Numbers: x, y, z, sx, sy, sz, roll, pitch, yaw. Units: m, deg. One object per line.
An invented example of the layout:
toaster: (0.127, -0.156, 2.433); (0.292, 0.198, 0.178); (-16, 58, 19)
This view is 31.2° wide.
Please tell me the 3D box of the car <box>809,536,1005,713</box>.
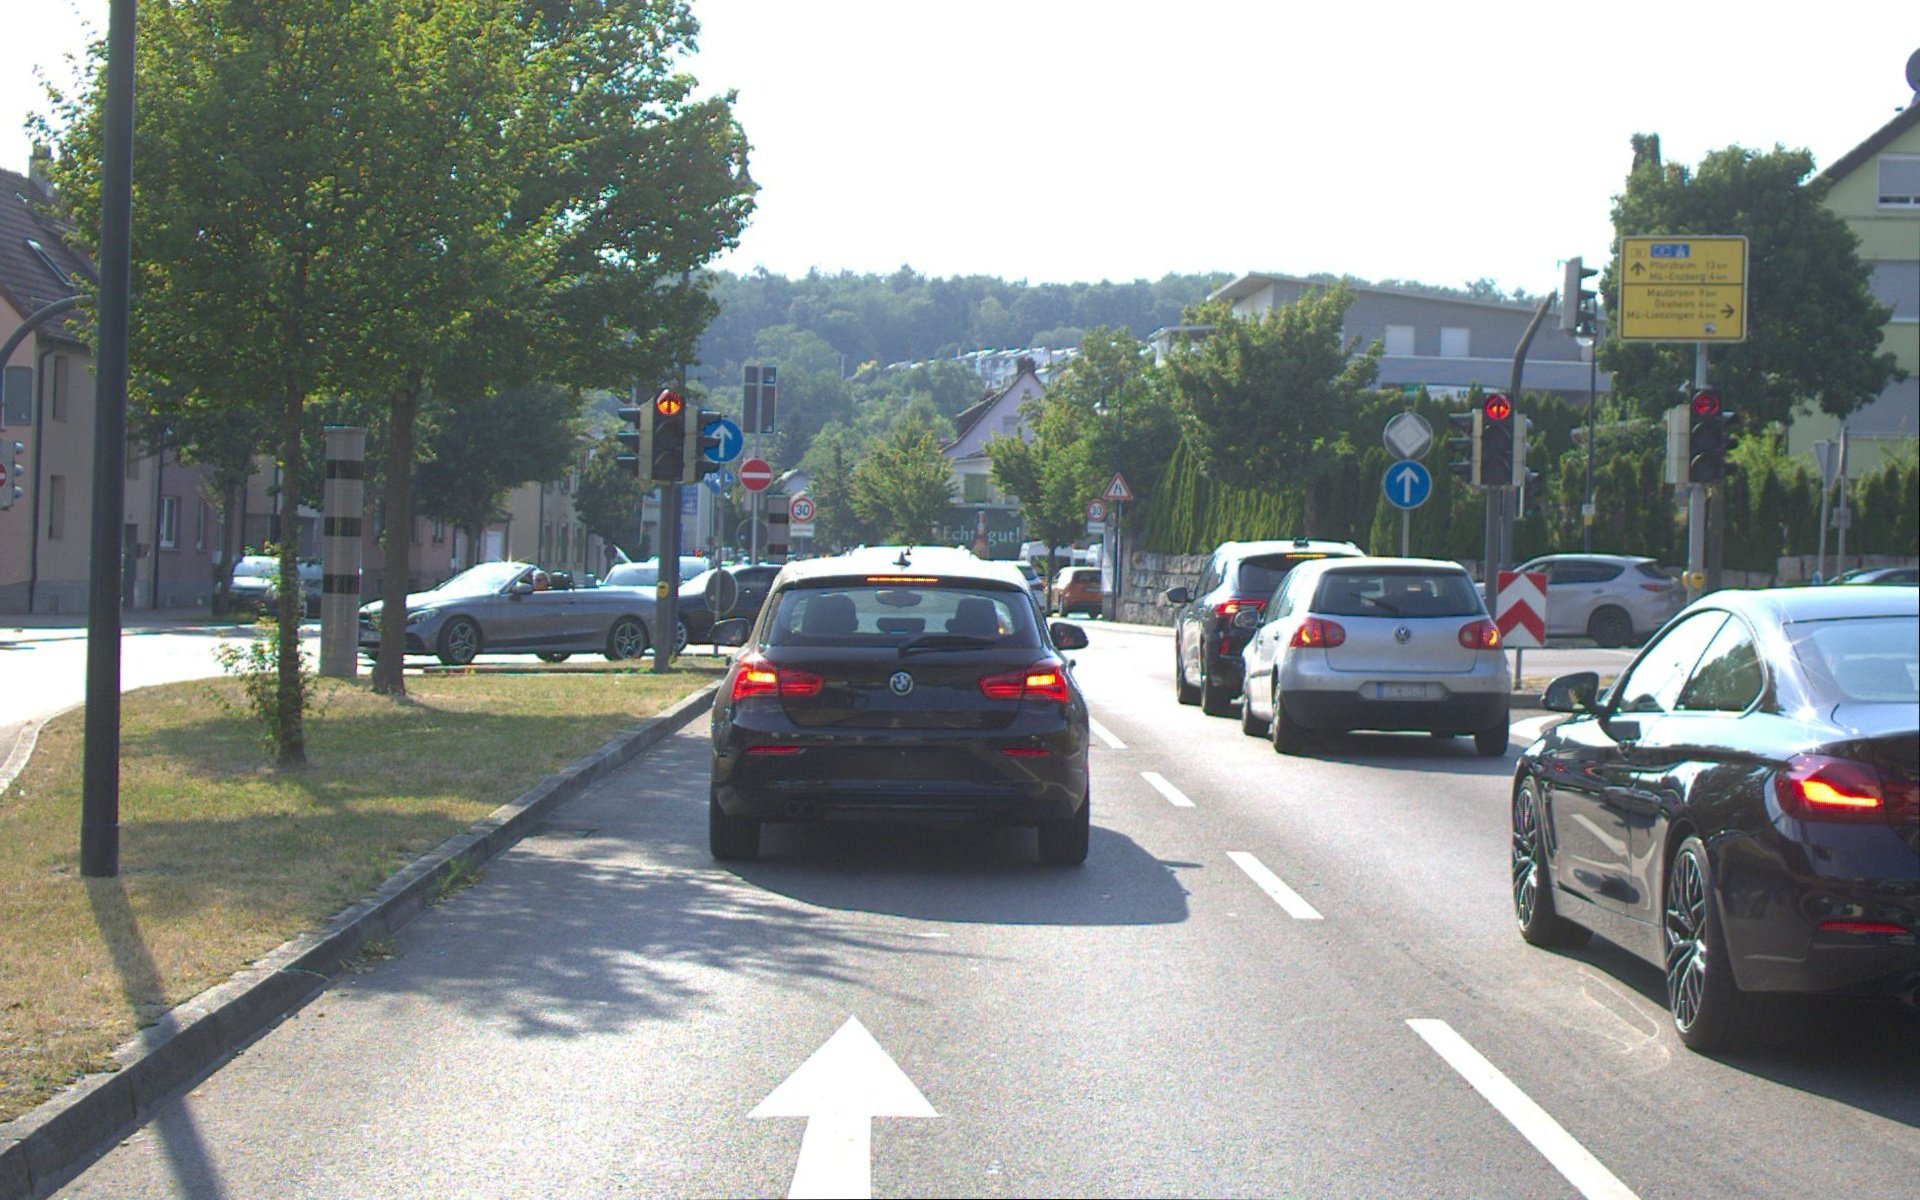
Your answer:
car: (-0.482, 0.198, 34.348); (1.816, 1.635, 4.242); (1, 1, 0)

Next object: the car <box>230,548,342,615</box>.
car: (-16.691, -0.468, 85.331); (1.924, 1.590, 4.000); (1, 1, 1)

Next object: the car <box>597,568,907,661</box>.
car: (-3.340, 0.233, 55.378); (4.628, 1.417, 1.849); (1, 1, -30)

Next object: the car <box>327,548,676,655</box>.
car: (-6.121, 0.019, 46.233); (4.466, 1.345, 1.785); (0, 1, -45)

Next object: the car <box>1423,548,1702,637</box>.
car: (10.923, -0.154, 62.358); (4.649, 1.480, 1.865); (1, 1, 23)

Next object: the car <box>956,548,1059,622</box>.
car: (1.092, -0.380, 81.182); (1.890, 1.696, 4.525); (0, 1, -6)

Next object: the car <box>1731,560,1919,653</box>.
car: (14.431, 0.103, 53.994); (4.175, 1.382, 1.651); (1, 1, -10)

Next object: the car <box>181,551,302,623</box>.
car: (-16.691, -0.330, 80.039); (1.924, 1.590, 4.000); (1, 1, 1)

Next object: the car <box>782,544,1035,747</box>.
car: (-0.361, 0.302, 27.084); (1.816, 1.446, 4.242); (1, 1, 0)

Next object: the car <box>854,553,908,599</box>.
car: (-2.887, -0.886, 125.834); (1.924, 1.590, 4.000); (1, 1, -1)

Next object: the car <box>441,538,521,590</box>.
car: (-15.329, -1.173, 110.139); (1.924, 1.590, 4.000); (1, 1, 1)

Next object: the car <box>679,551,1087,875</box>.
car: (-0.327, 0.470, 17.426); (1.790, 1.410, 4.347); (1, 1, 0)

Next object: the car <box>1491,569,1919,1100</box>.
car: (2.990, 0.616, 11.337); (1.816, 1.384, 4.347); (1, 1, 0)

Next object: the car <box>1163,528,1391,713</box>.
car: (3.009, 0.155, 33.436); (1.816, 1.660, 4.347); (1, 1, 0)

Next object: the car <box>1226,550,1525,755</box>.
car: (3.149, 0.345, 26.827); (1.816, 1.441, 4.347); (1, 1, 0)
